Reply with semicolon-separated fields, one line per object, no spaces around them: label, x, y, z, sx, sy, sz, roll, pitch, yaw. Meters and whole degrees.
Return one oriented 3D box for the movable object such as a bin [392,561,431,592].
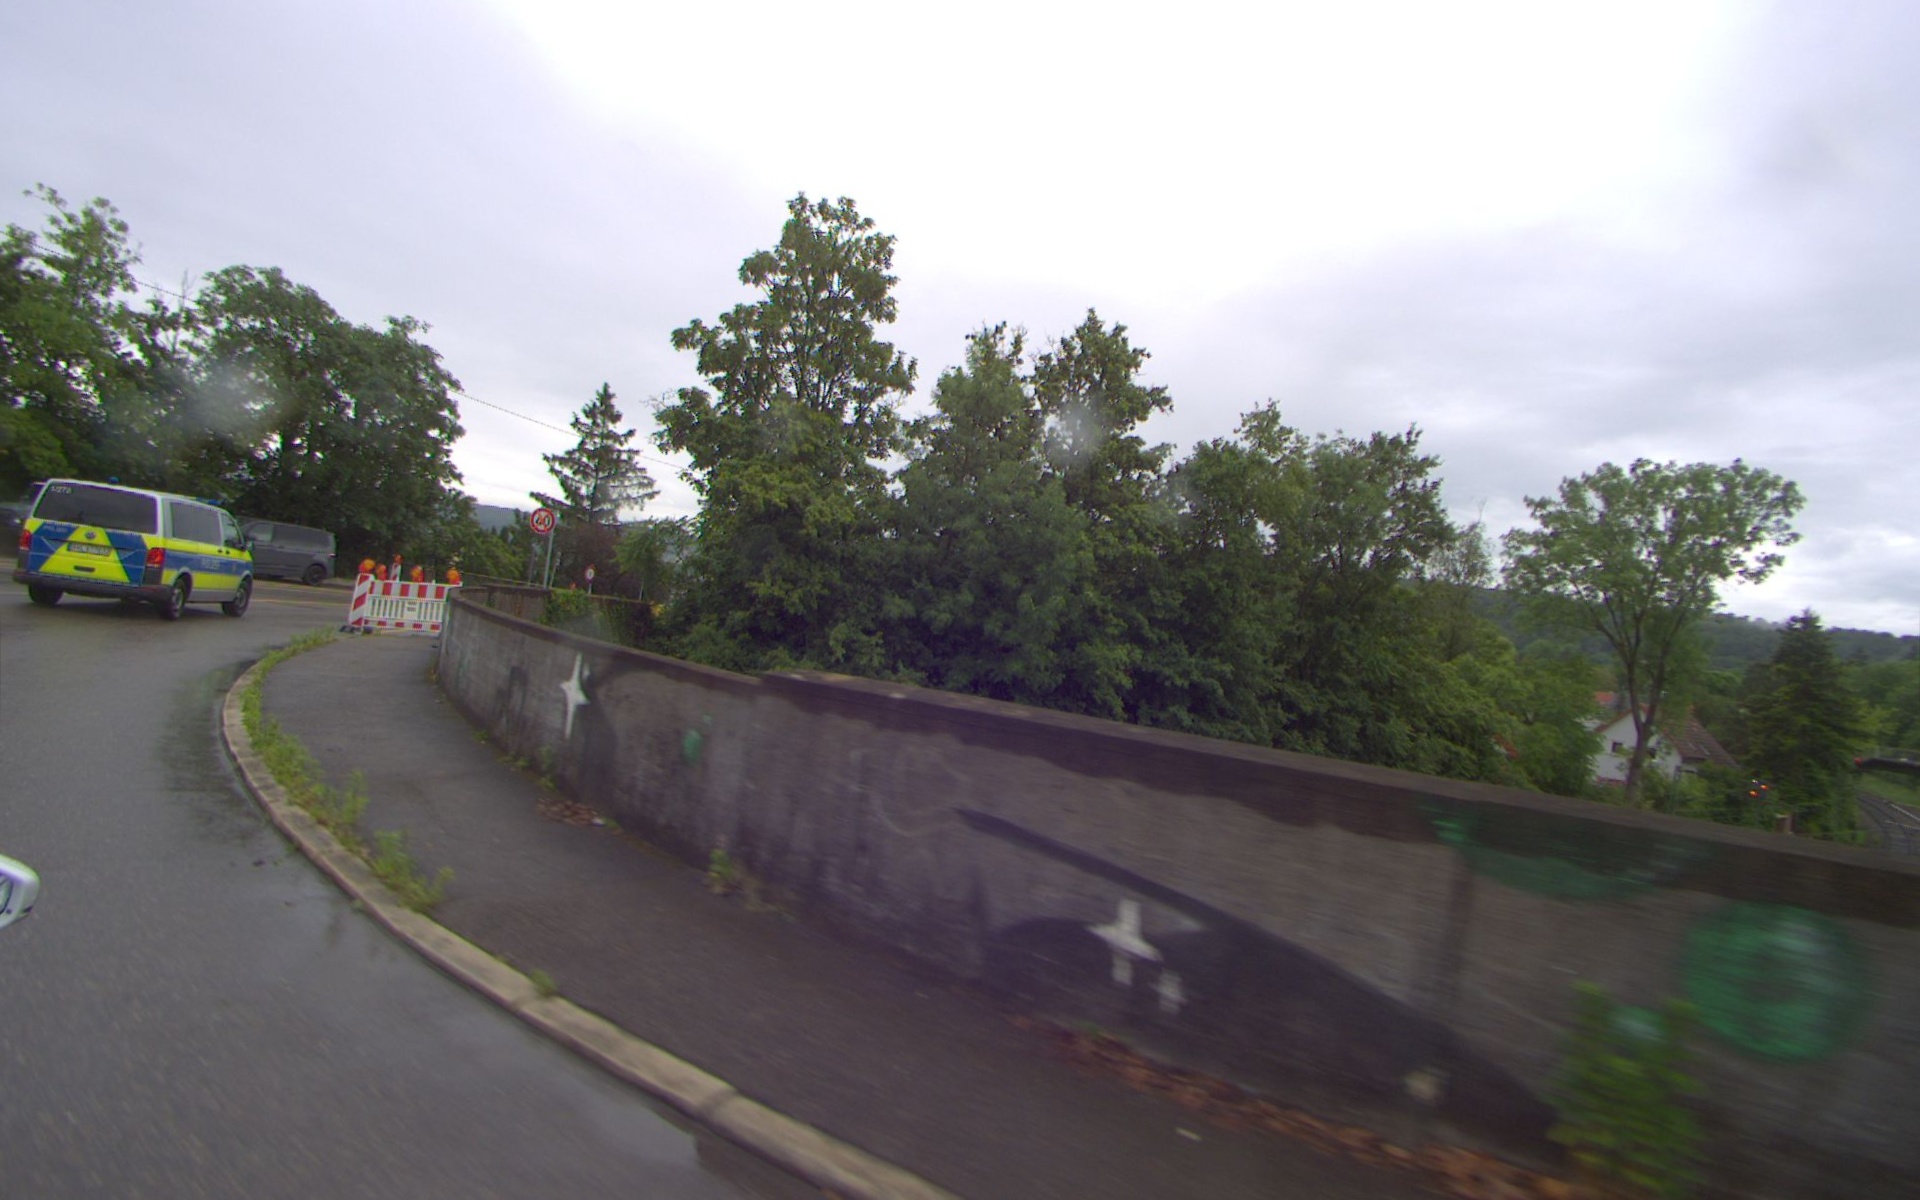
movable object such as a bin;-23.785;-1.028;43.604;0.973;1.119;1.025;7;-2;34

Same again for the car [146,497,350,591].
car;-22.589;-1.707;32.220;1.962;2.035;4.957;10;-2;17

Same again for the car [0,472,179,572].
car;-23.708;-2.058;26.748;1.837;2.036;4.816;9;-2;1

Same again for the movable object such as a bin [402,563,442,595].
movable object such as a bin;-22.974;-0.892;42.969;0.973;1.118;1.026;7;-3;34

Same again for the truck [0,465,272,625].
truck;-13.546;-0.788;16.856;1.972;2.037;4.716;7;-2;-20
